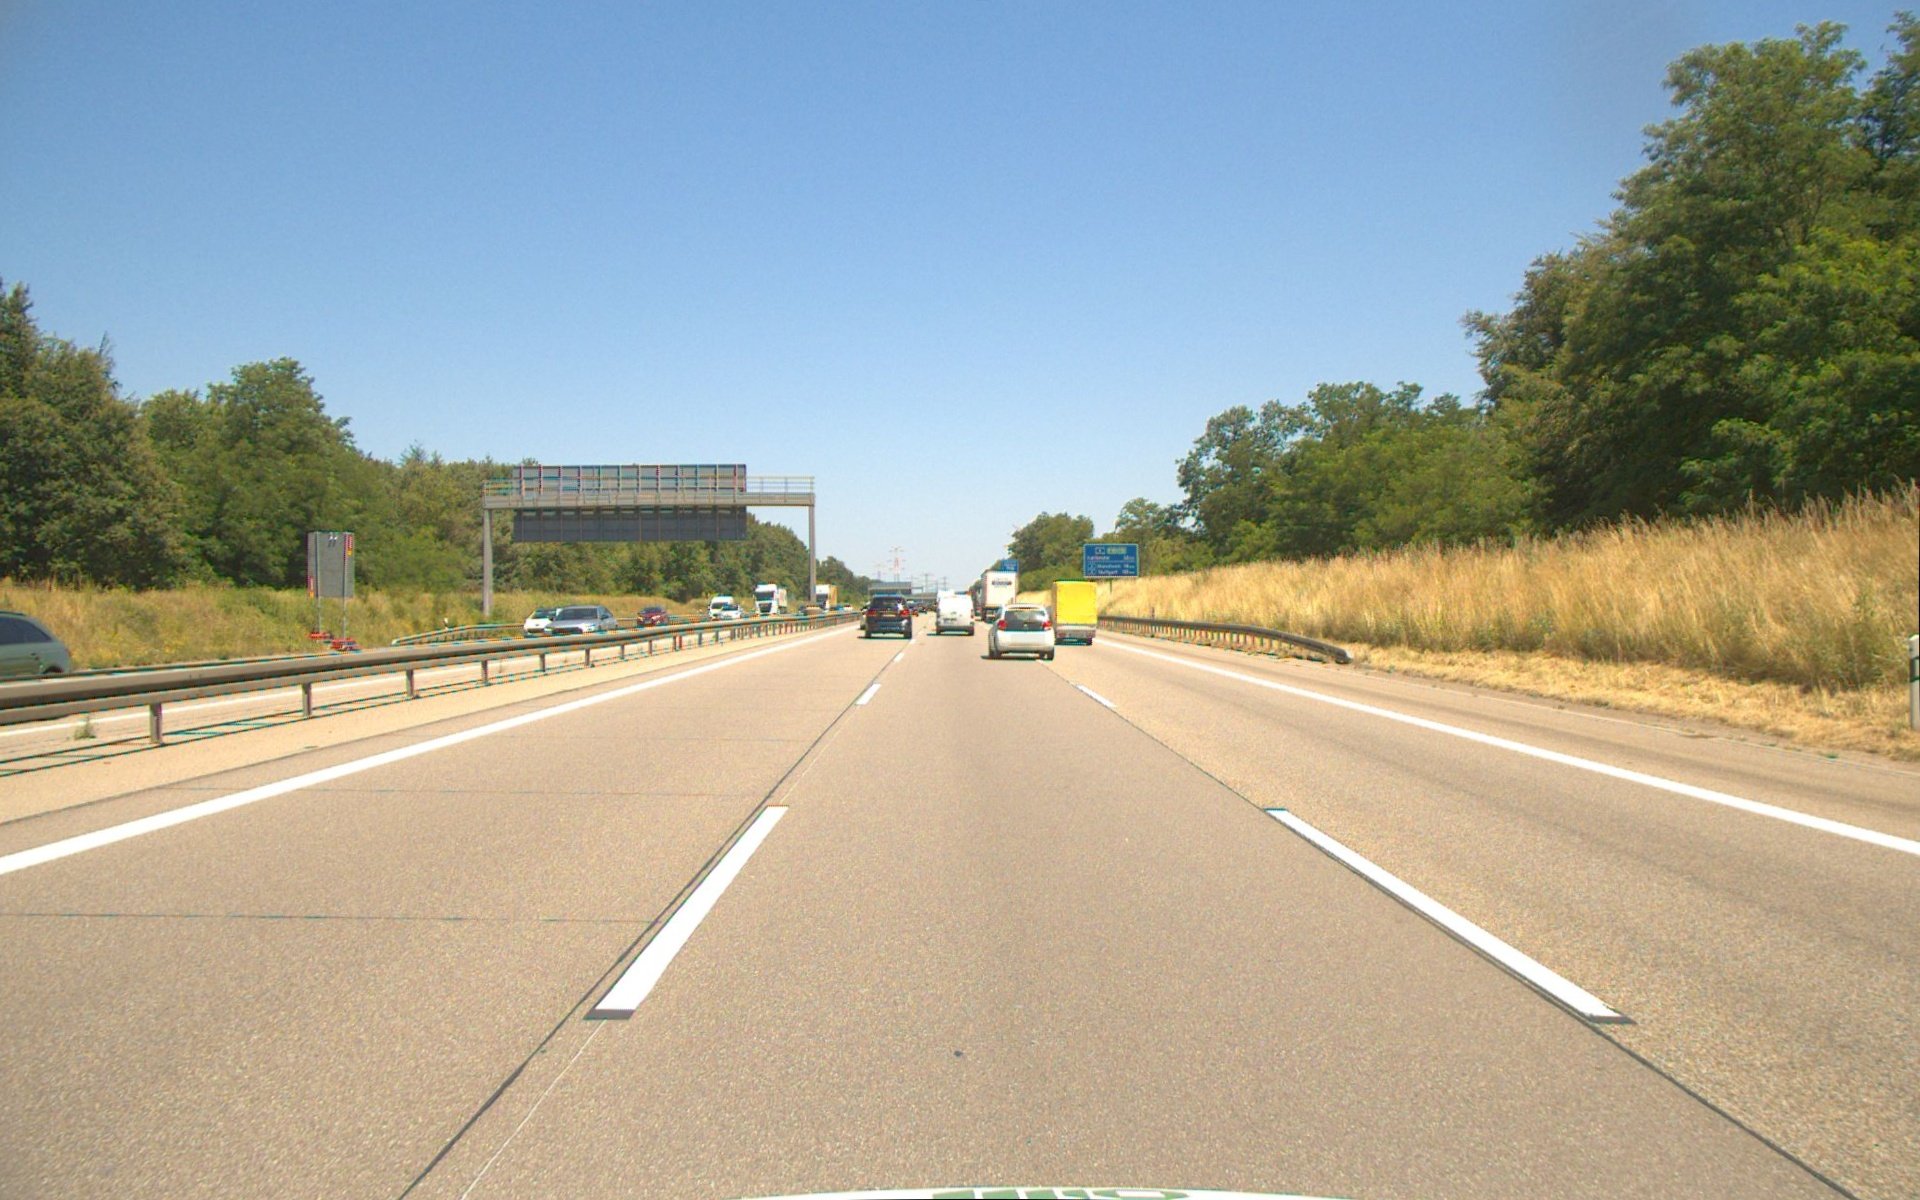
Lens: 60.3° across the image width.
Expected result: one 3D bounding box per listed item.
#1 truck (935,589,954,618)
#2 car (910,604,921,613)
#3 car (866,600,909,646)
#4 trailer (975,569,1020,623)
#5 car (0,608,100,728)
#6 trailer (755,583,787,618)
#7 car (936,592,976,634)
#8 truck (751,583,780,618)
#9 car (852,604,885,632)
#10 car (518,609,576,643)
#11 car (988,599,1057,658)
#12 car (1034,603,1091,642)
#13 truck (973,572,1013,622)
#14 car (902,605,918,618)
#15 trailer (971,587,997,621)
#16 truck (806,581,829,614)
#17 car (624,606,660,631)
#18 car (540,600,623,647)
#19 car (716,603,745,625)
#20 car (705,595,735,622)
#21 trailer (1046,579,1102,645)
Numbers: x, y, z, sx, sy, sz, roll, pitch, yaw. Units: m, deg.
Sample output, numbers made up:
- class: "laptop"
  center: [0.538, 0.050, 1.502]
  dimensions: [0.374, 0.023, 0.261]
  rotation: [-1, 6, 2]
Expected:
- class: "truck"
  center: [-1.641, 0.407, 174.273]
  dimensions: [2.018, 2.965, 7.001]
  rotation: [0, -1, -1]
- class: "car"
  center: [-5.964, 1.150, 222.306]
  dimensions: [1.377, 1.151, 3.358]
  rotation: [1, 0, -1]
- class: "car"
  center: [-2.931, 0.923, 67.422]
  dimensions: [1.593, 1.785, 3.804]
  rotation: [1, 0, -1]
- class: "trailer"
  center: [3.043, -0.245, 139.493]
  dimensions: [3.219, 4.293, 13.561]
  rotation: [1, -1, -1]
- class: "car"
  center: [-12.615, 0.879, 20.389]
  dimensions: [1.664, 1.454, 4.573]
  rotation: [-3, 0, -2]
- class: "trailer"
  center: [-22.888, 0.046, 200.546]
  dimensions: [2.572, 4.017, 11.155]
  rotation: [-3, 0, -1]
- class: "car"
  center: [-0.217, 0.580, 76.144]
  dimensions: [1.777, 1.859, 5.109]
  rotation: [0, -1, -1]
- class: "truck"
  center: [-22.844, 0.057, 194.319]
  dimensions: [2.572, 4.017, 6.481]
  rotation: [-3, 0, -1]
- class: "car"
  center: [-4.757, 0.920, 86.762]
  dimensions: [1.635, 1.426, 3.711]
  rotation: [0, 0, -2]
- class: "car"
  center: [-20.826, 1.271, 83.570]
  dimensions: [1.758, 1.543, 4.902]
  rotation: [-3, 0, -2]
- class: "car"
  center: [1.666, 0.754, 45.014]
  dimensions: [1.673, 1.521, 4.023]
  rotation: [1, 0, -1]
- class: "car"
  center: [4.006, 0.869, 65.237]
  dimensions: [1.784, 1.481, 4.786]
  rotation: [1, 0, -2]
- class: "truck"
  center: [2.912, -0.222, 146.452]
  dimensions: [3.219, 4.293, 6.006]
  rotation: [1, -1, -1]
- class: "car"
  center: [-5.187, 1.149, 173.099]
  dimensions: [1.574, 1.323, 3.673]
  rotation: [1, 0, -1]
- class: "trailer"
  center: [2.846, 0.537, 197.279]
  dimensions: [2.628, 3.904, 12.007]
  rotation: [1, -1, -1]
- class: "truck"
  center: [-18.833, -0.290, 219.309]
  dimensions: [2.414, 4.143, 6.286]
  rotation: [-3, 0, -1]
- class: "car"
  center: [-22.332, 1.313, 116.283]
  dimensions: [1.613, 1.618, 4.611]
  rotation: [-3, 0, -1]
- class: "car"
  center: [-13.085, 0.781, 57.481]
  dimensions: [1.758, 1.500, 4.985]
  rotation: [-3, 0, -1]
- class: "car"
  center: [-17.441, 1.054, 125.701]
  dimensions: [1.613, 1.525, 4.559]
  rotation: [-3, 0, -2]
- class: "car"
  center: [-21.815, 0.759, 150.356]
  dimensions: [1.947, 2.381, 5.808]
  rotation: [-3, 0, -2]
- class: "trailer"
  center: [4.181, 0.421, 60.899]
  dimensions: [1.668, 2.330, 3.838]
  rotation: [1, 0, -2]
